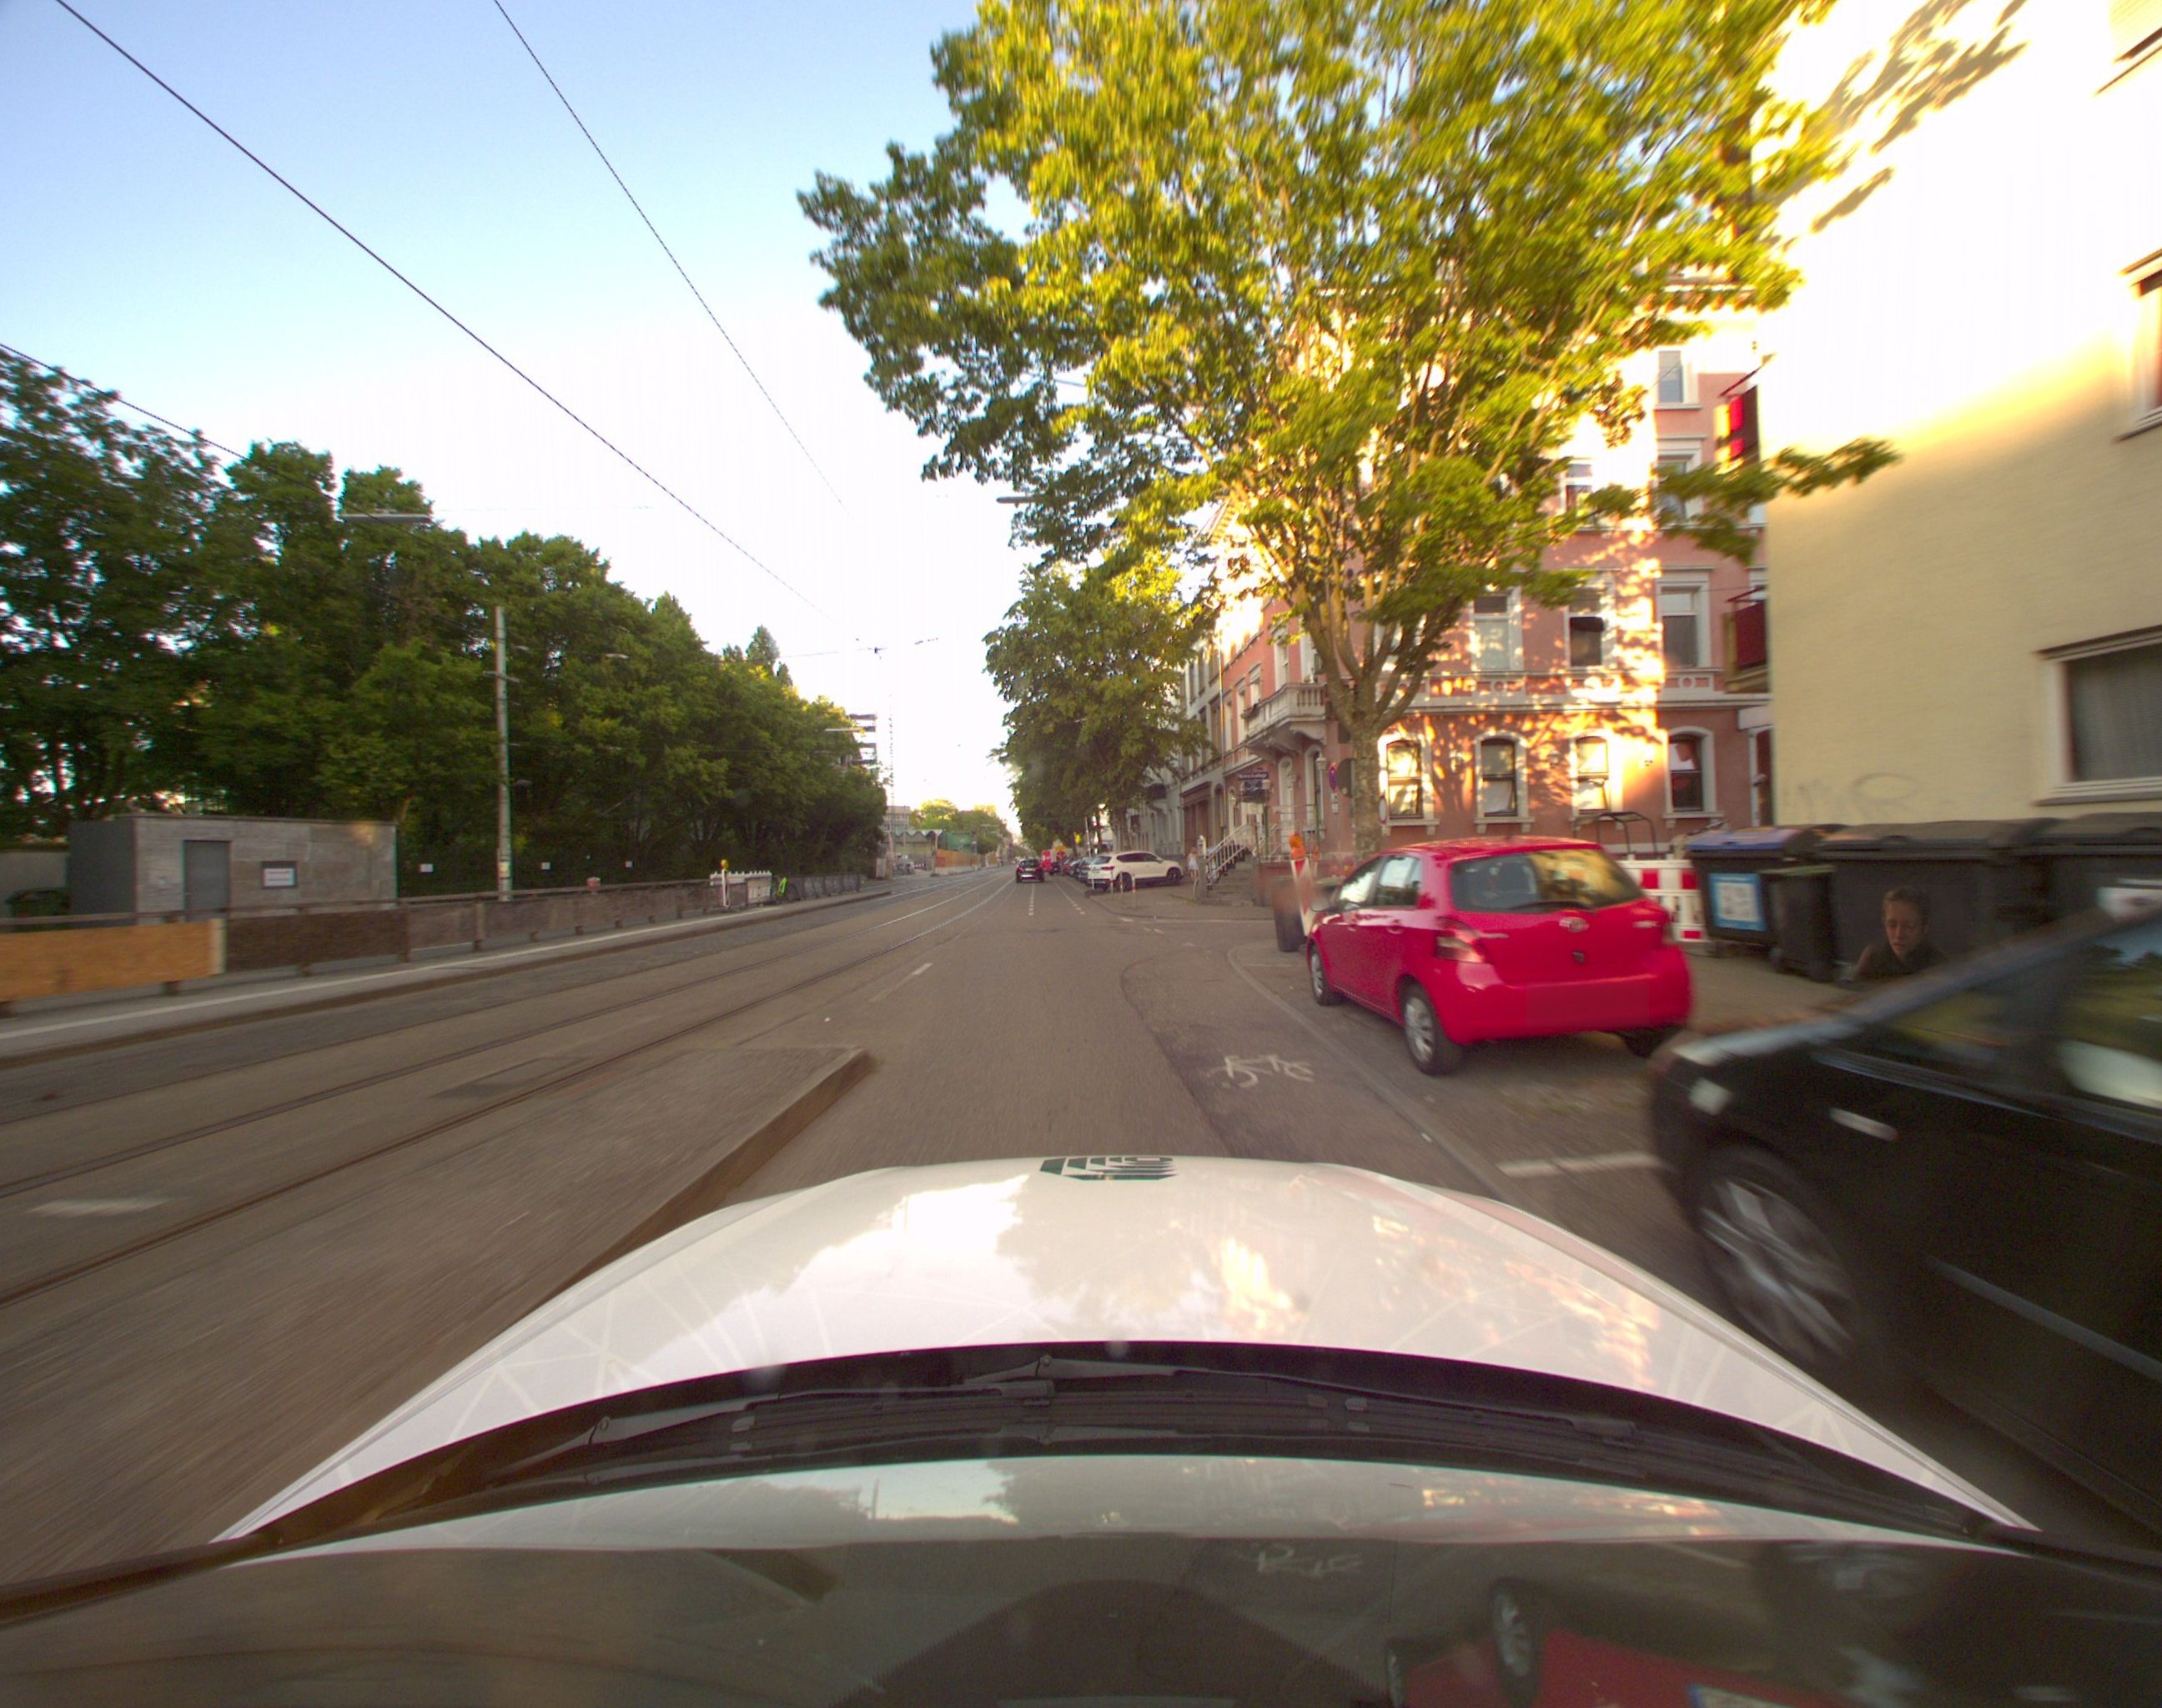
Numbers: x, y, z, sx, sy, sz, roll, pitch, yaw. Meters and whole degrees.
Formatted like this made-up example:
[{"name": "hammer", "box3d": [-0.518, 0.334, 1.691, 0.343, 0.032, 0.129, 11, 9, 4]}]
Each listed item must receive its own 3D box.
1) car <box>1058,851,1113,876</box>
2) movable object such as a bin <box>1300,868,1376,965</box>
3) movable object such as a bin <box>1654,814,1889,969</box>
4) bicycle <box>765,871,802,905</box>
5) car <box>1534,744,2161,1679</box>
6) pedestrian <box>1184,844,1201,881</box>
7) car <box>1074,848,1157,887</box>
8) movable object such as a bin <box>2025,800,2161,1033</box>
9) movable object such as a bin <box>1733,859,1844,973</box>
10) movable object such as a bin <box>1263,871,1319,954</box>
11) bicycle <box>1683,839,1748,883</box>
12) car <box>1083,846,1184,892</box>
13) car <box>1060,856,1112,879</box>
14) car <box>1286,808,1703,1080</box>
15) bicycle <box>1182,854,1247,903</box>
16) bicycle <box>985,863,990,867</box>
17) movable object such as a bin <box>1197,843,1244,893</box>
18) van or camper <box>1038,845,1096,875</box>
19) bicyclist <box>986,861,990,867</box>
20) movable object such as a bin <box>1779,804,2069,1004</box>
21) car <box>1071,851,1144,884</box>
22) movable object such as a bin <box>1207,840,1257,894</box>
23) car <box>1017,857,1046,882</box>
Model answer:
[{"name": "car", "box3d": [0.378, 0.777, 65.149, 3.973, 1.603, 1.820, -5, 0, -36]}, {"name": "movable object such as a bin", "box3d": [3.247, 0.768, 10.279, 0.707, 1.153, 0.627, -2, 0, 39]}, {"name": "movable object such as a bin", "box3d": [7.379, 0.366, 8.836, 1.138, 1.502, 1.596, -1, 0, -4]}, {"name": "bicycle", "box3d": [-10.239, 1.148, 28.107, 0.460, 1.075, 2.022, -2, 0, 1]}, {"name": "car", "box3d": [2.712, 0.574, 1.169, 1.738, 1.632, 4.087, -4, 0, -1]}, {"name": "pedestrian", "box3d": [4.909, 0.383, 35.883, 0.585, 1.609, 0.624, -2, 0, -3]}, {"name": "car", "box3d": [1.812, 0.701, 41.881, 3.976, 1.668, 1.879, -4, 0, -41]}, {"name": "movable object such as a bin", "box3d": [7.531, 0.390, 5.363, 1.138, 1.502, 1.269, -1, 0, -4]}, {"name": "movable object such as a bin", "box3d": [6.811, 0.576, 7.860, 0.553, 1.047, 0.570, -1, 0, -5]}, {"name": "movable object such as a bin", "box3d": [3.022, 0.836, 11.790, 0.708, 1.153, 0.590, -1, 0, 8]}, {"name": "bicycle", "box3d": [16.246, 0.172, 20.889, 0.461, 1.075, 1.396, -3, 0, -3]}, {"name": "car", "box3d": [2.230, 0.604, 34.092, 3.971, 1.626, 1.656, -4, 1, -34]}, {"name": "car", "box3d": [0.443, 1.160, 70.739, 3.968, 1.603, 1.822, -5, 0, -30]}, {"name": "car", "box3d": [2.940, 0.543, 6.727, 1.559, 1.536, 3.694, -4, 0, 1]}, {"name": "bicycle", "box3d": [3.715, 0.661, 22.561, 1.928, 1.266, 0.594, -2, 0, -38]}, {"name": "bicycle", "box3d": [-21.059, 2.552, 183.558, 0.947, 0.849, 2.691, -2, 0, -6]}, {"name": "movable object such as a bin", "box3d": [4.371, 0.419, 25.599, 1.138, 1.502, 1.397, -1, 0, -4]}, {"name": "van or camper", "box3d": [-1.396, 0.614, 82.509, 5.578, 2.530, 2.062, -5, 0, -38]}, {"name": "bicyclist", "box3d": [-20.851, 2.277, 182.773, 0.943, 1.346, 1.109, -2, -1, -6]}, {"name": "movable object such as a bin", "box3d": [7.046, 0.378, 6.911, 1.070, 1.502, 1.316, -1, 0, -6]}, {"name": "car", "box3d": [1.581, 0.811, 48.026, 3.973, 1.603, 1.820, -4, 0, -36]}, {"name": "movable object such as a bin", "box3d": [4.462, 0.374, 24.144, 1.138, 1.502, 1.397, -1, 0, -4]}, {"name": "car", "box3d": [-3.320, 1.005, 54.397, 1.878, 1.620, 3.994, 1, -1, -4]}]
